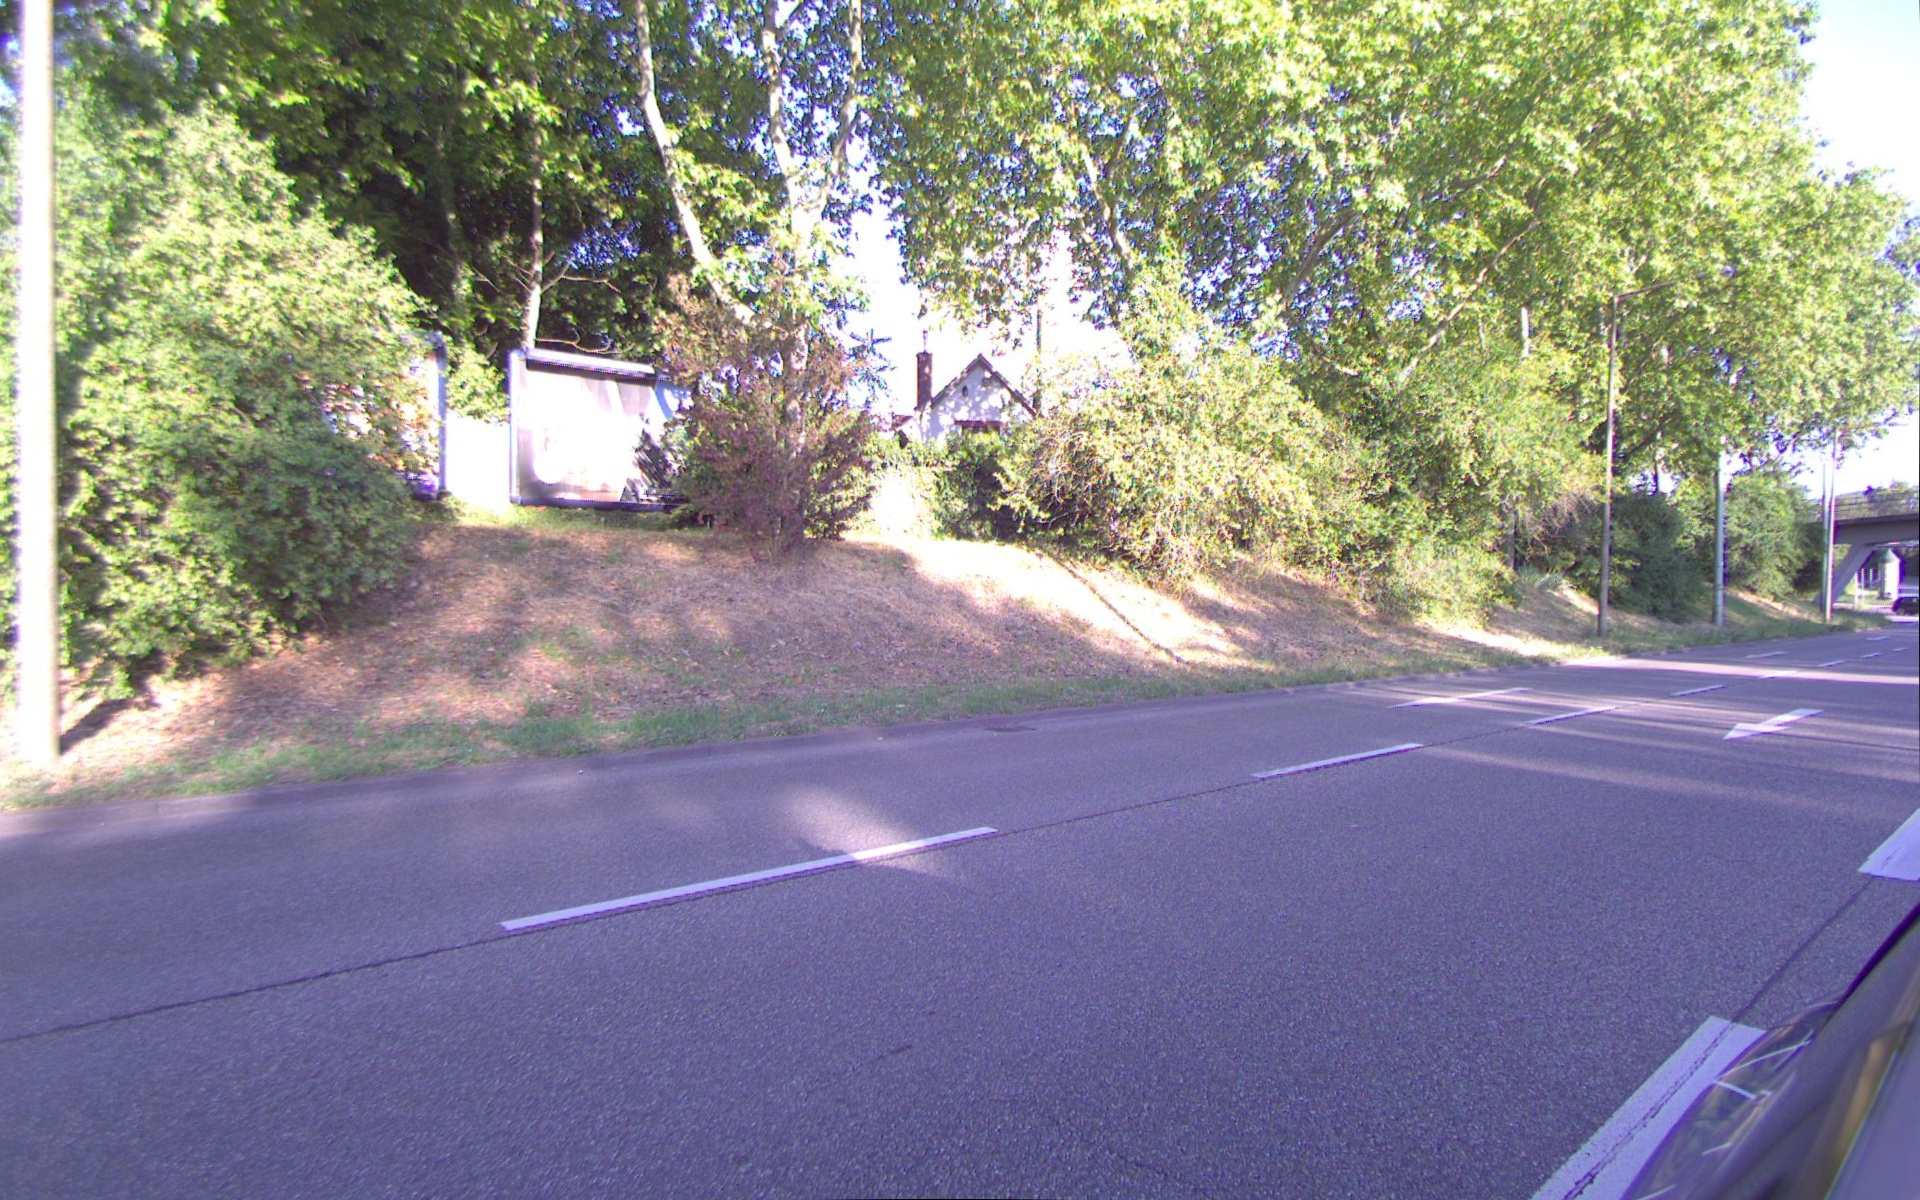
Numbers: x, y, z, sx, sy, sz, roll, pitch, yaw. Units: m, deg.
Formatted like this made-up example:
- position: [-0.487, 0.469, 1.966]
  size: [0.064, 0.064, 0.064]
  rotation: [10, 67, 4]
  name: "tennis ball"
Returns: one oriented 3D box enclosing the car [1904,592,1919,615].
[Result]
- position: [70.977, 0.260, 72.862]
  size: [1.748, 1.676, 4.006]
  rotation: [-1, 1, -27]
  name: "car"
